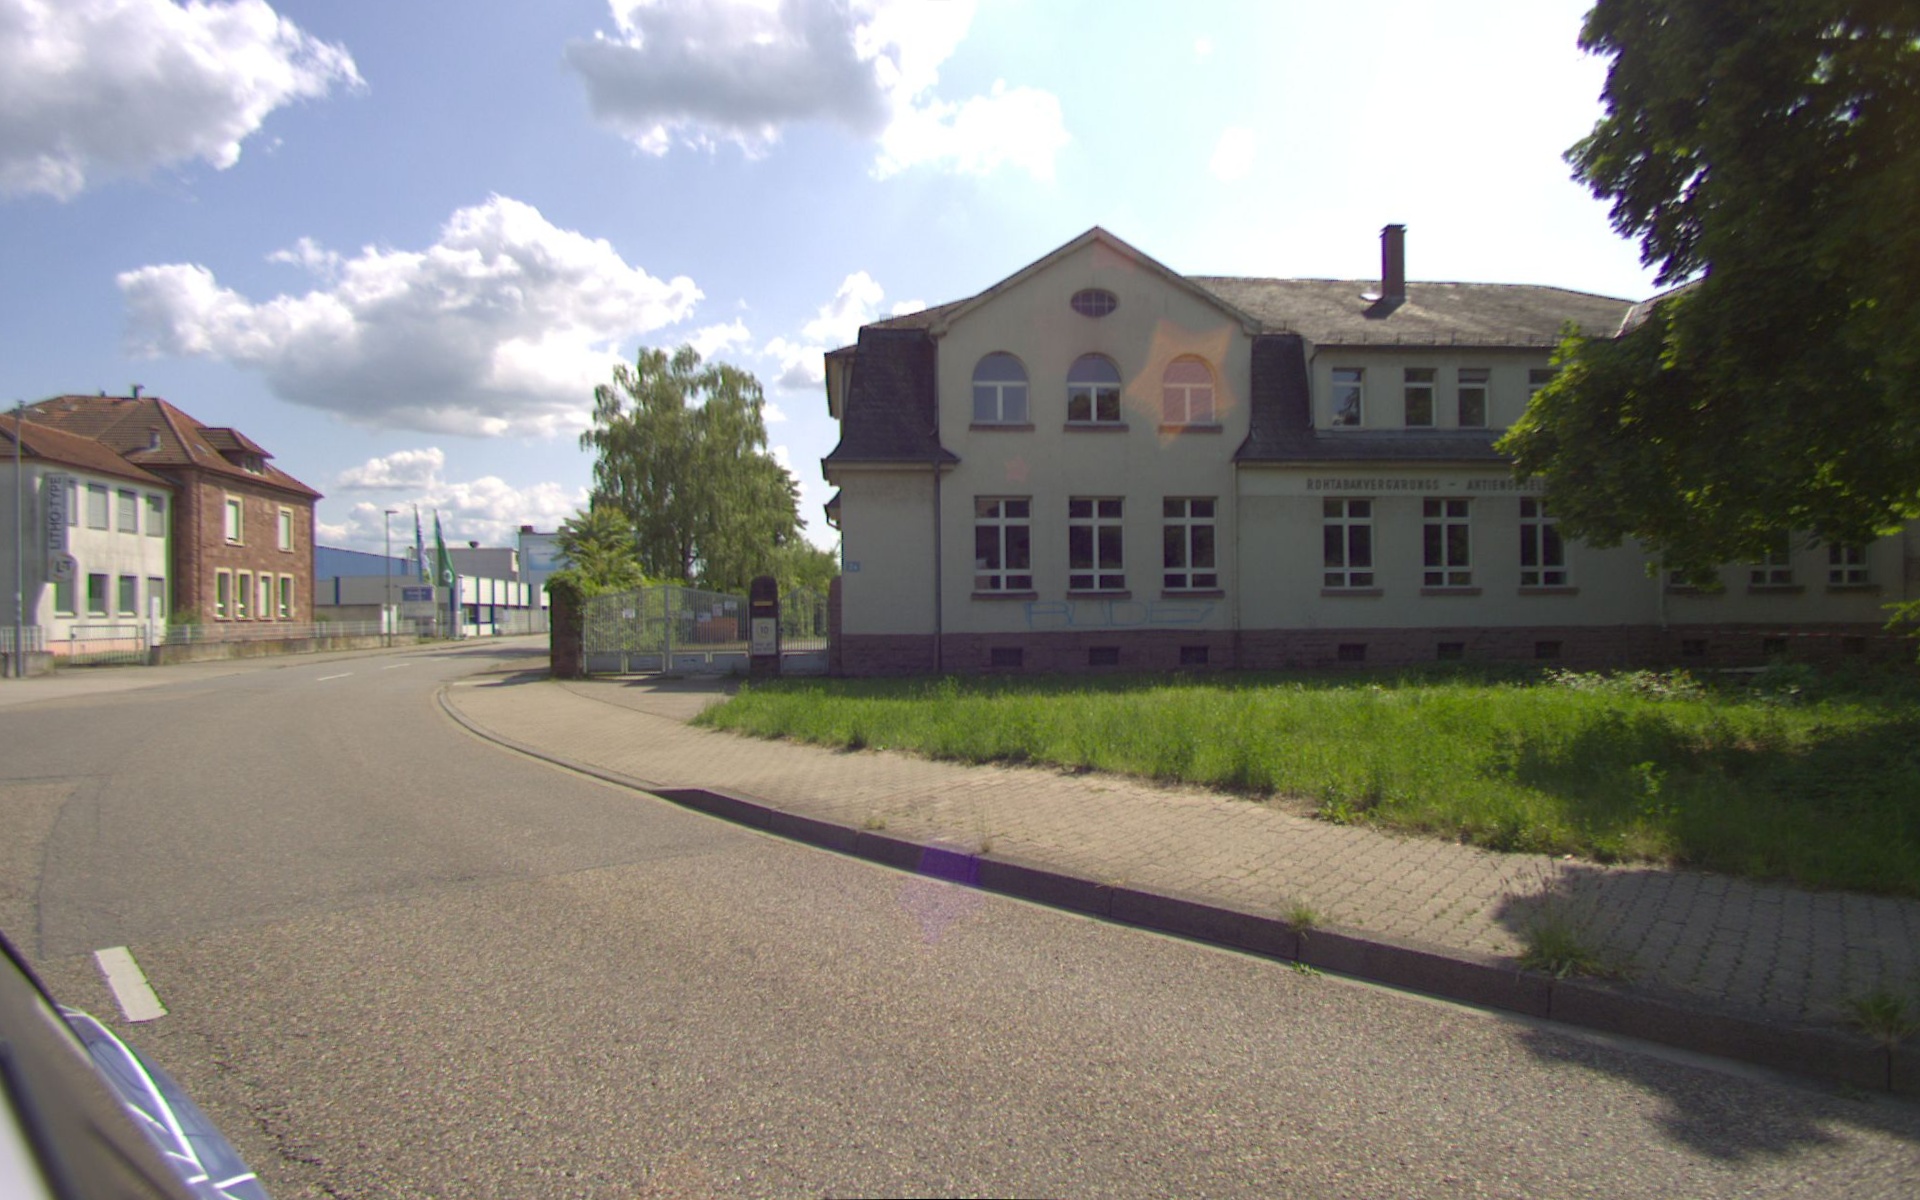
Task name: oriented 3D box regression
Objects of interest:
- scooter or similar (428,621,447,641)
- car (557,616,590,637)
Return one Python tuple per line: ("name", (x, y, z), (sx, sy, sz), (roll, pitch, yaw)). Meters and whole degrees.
("scooter or similar", (-33.506, 1.983, 64.882), (1.136, 1.255, 0.258), (-1, -1, 8))
("car", (-32.850, 2.234, 86.208), (1.801, 1.677, 4.565), (-1, -1, -10))
